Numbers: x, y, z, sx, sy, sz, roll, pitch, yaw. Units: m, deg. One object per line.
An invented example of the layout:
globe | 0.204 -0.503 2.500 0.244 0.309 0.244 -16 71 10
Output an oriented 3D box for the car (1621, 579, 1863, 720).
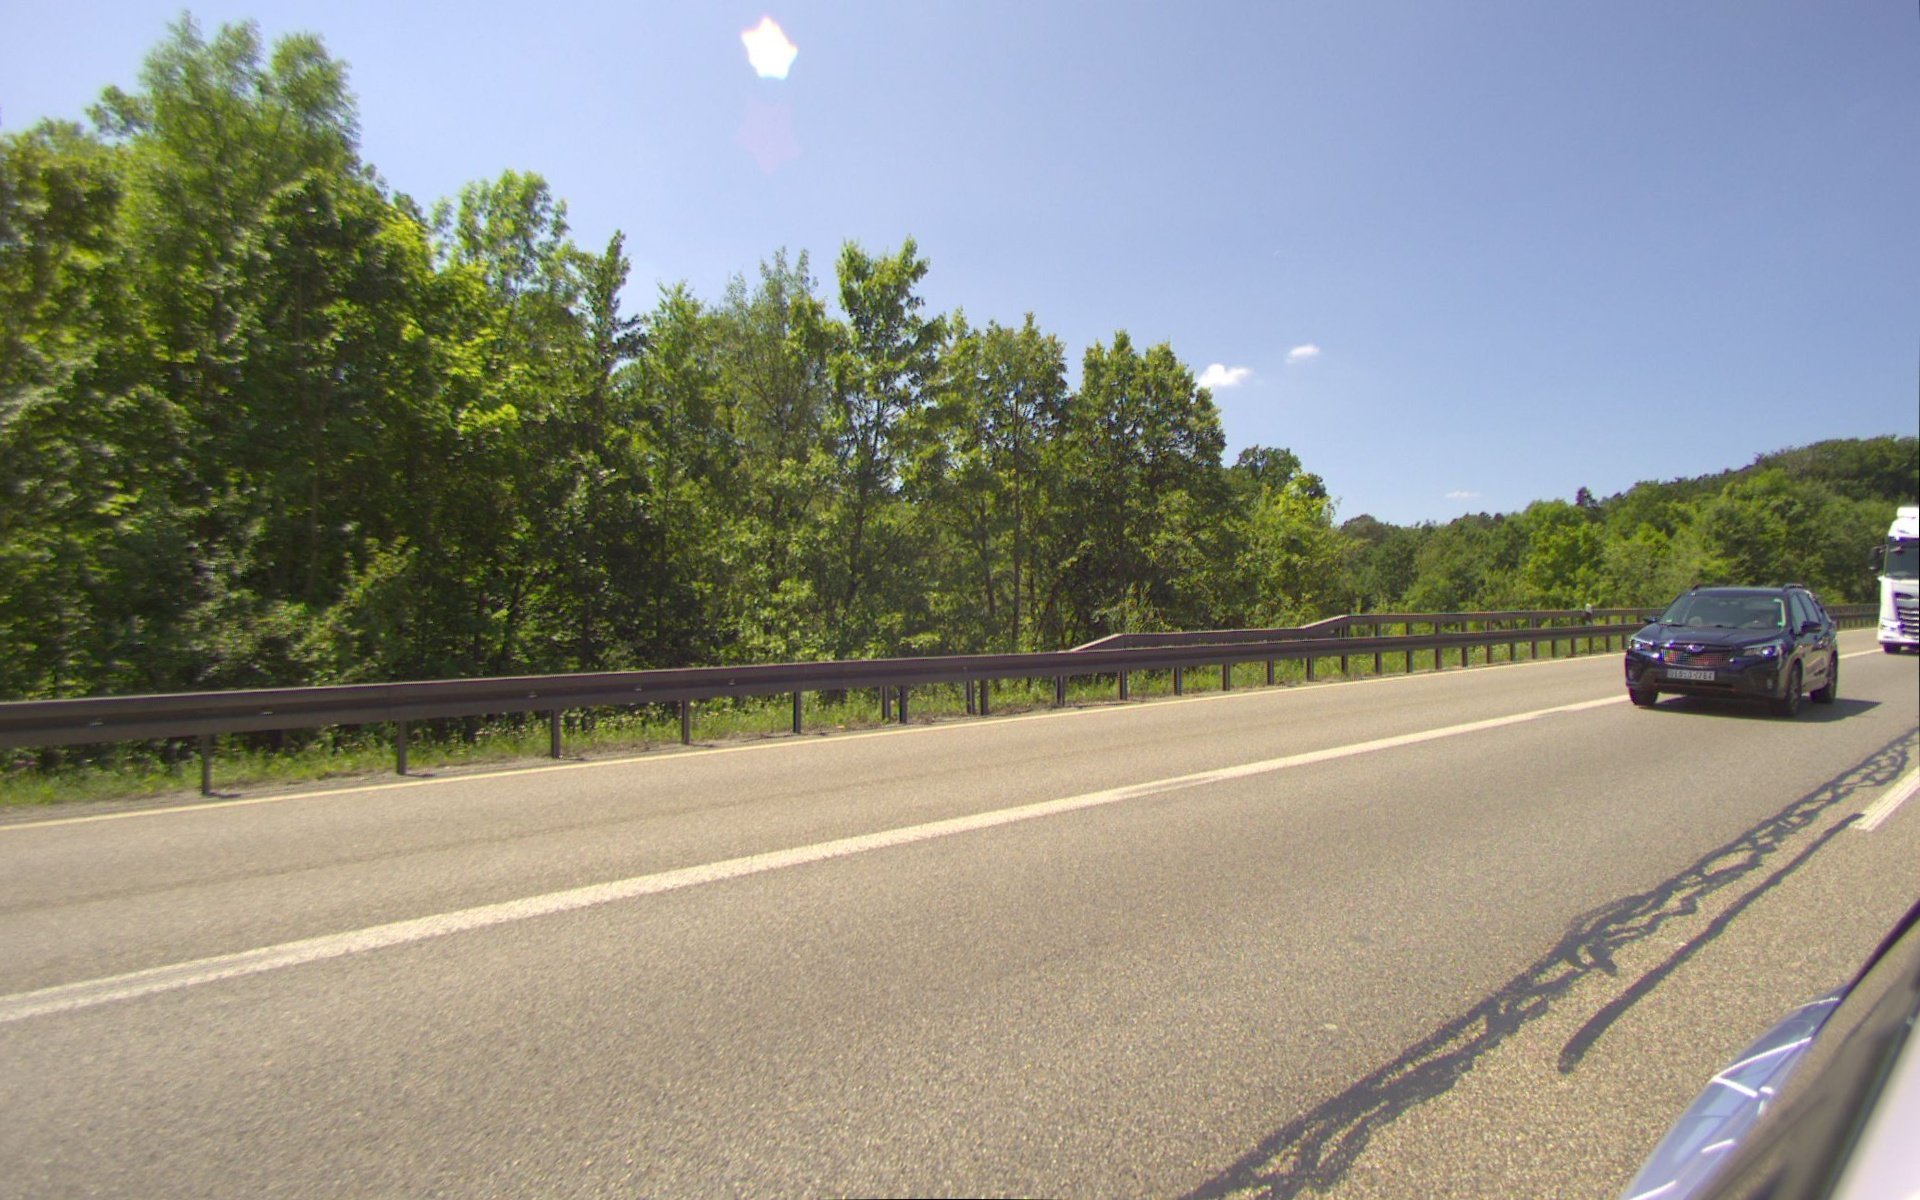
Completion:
car | 11.086 0.569 14.258 4.128 1.688 1.816 -1 1 -39

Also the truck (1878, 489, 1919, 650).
truck | 31.751 -0.932 31.172 15.977 4.220 2.789 -1 2 -39
